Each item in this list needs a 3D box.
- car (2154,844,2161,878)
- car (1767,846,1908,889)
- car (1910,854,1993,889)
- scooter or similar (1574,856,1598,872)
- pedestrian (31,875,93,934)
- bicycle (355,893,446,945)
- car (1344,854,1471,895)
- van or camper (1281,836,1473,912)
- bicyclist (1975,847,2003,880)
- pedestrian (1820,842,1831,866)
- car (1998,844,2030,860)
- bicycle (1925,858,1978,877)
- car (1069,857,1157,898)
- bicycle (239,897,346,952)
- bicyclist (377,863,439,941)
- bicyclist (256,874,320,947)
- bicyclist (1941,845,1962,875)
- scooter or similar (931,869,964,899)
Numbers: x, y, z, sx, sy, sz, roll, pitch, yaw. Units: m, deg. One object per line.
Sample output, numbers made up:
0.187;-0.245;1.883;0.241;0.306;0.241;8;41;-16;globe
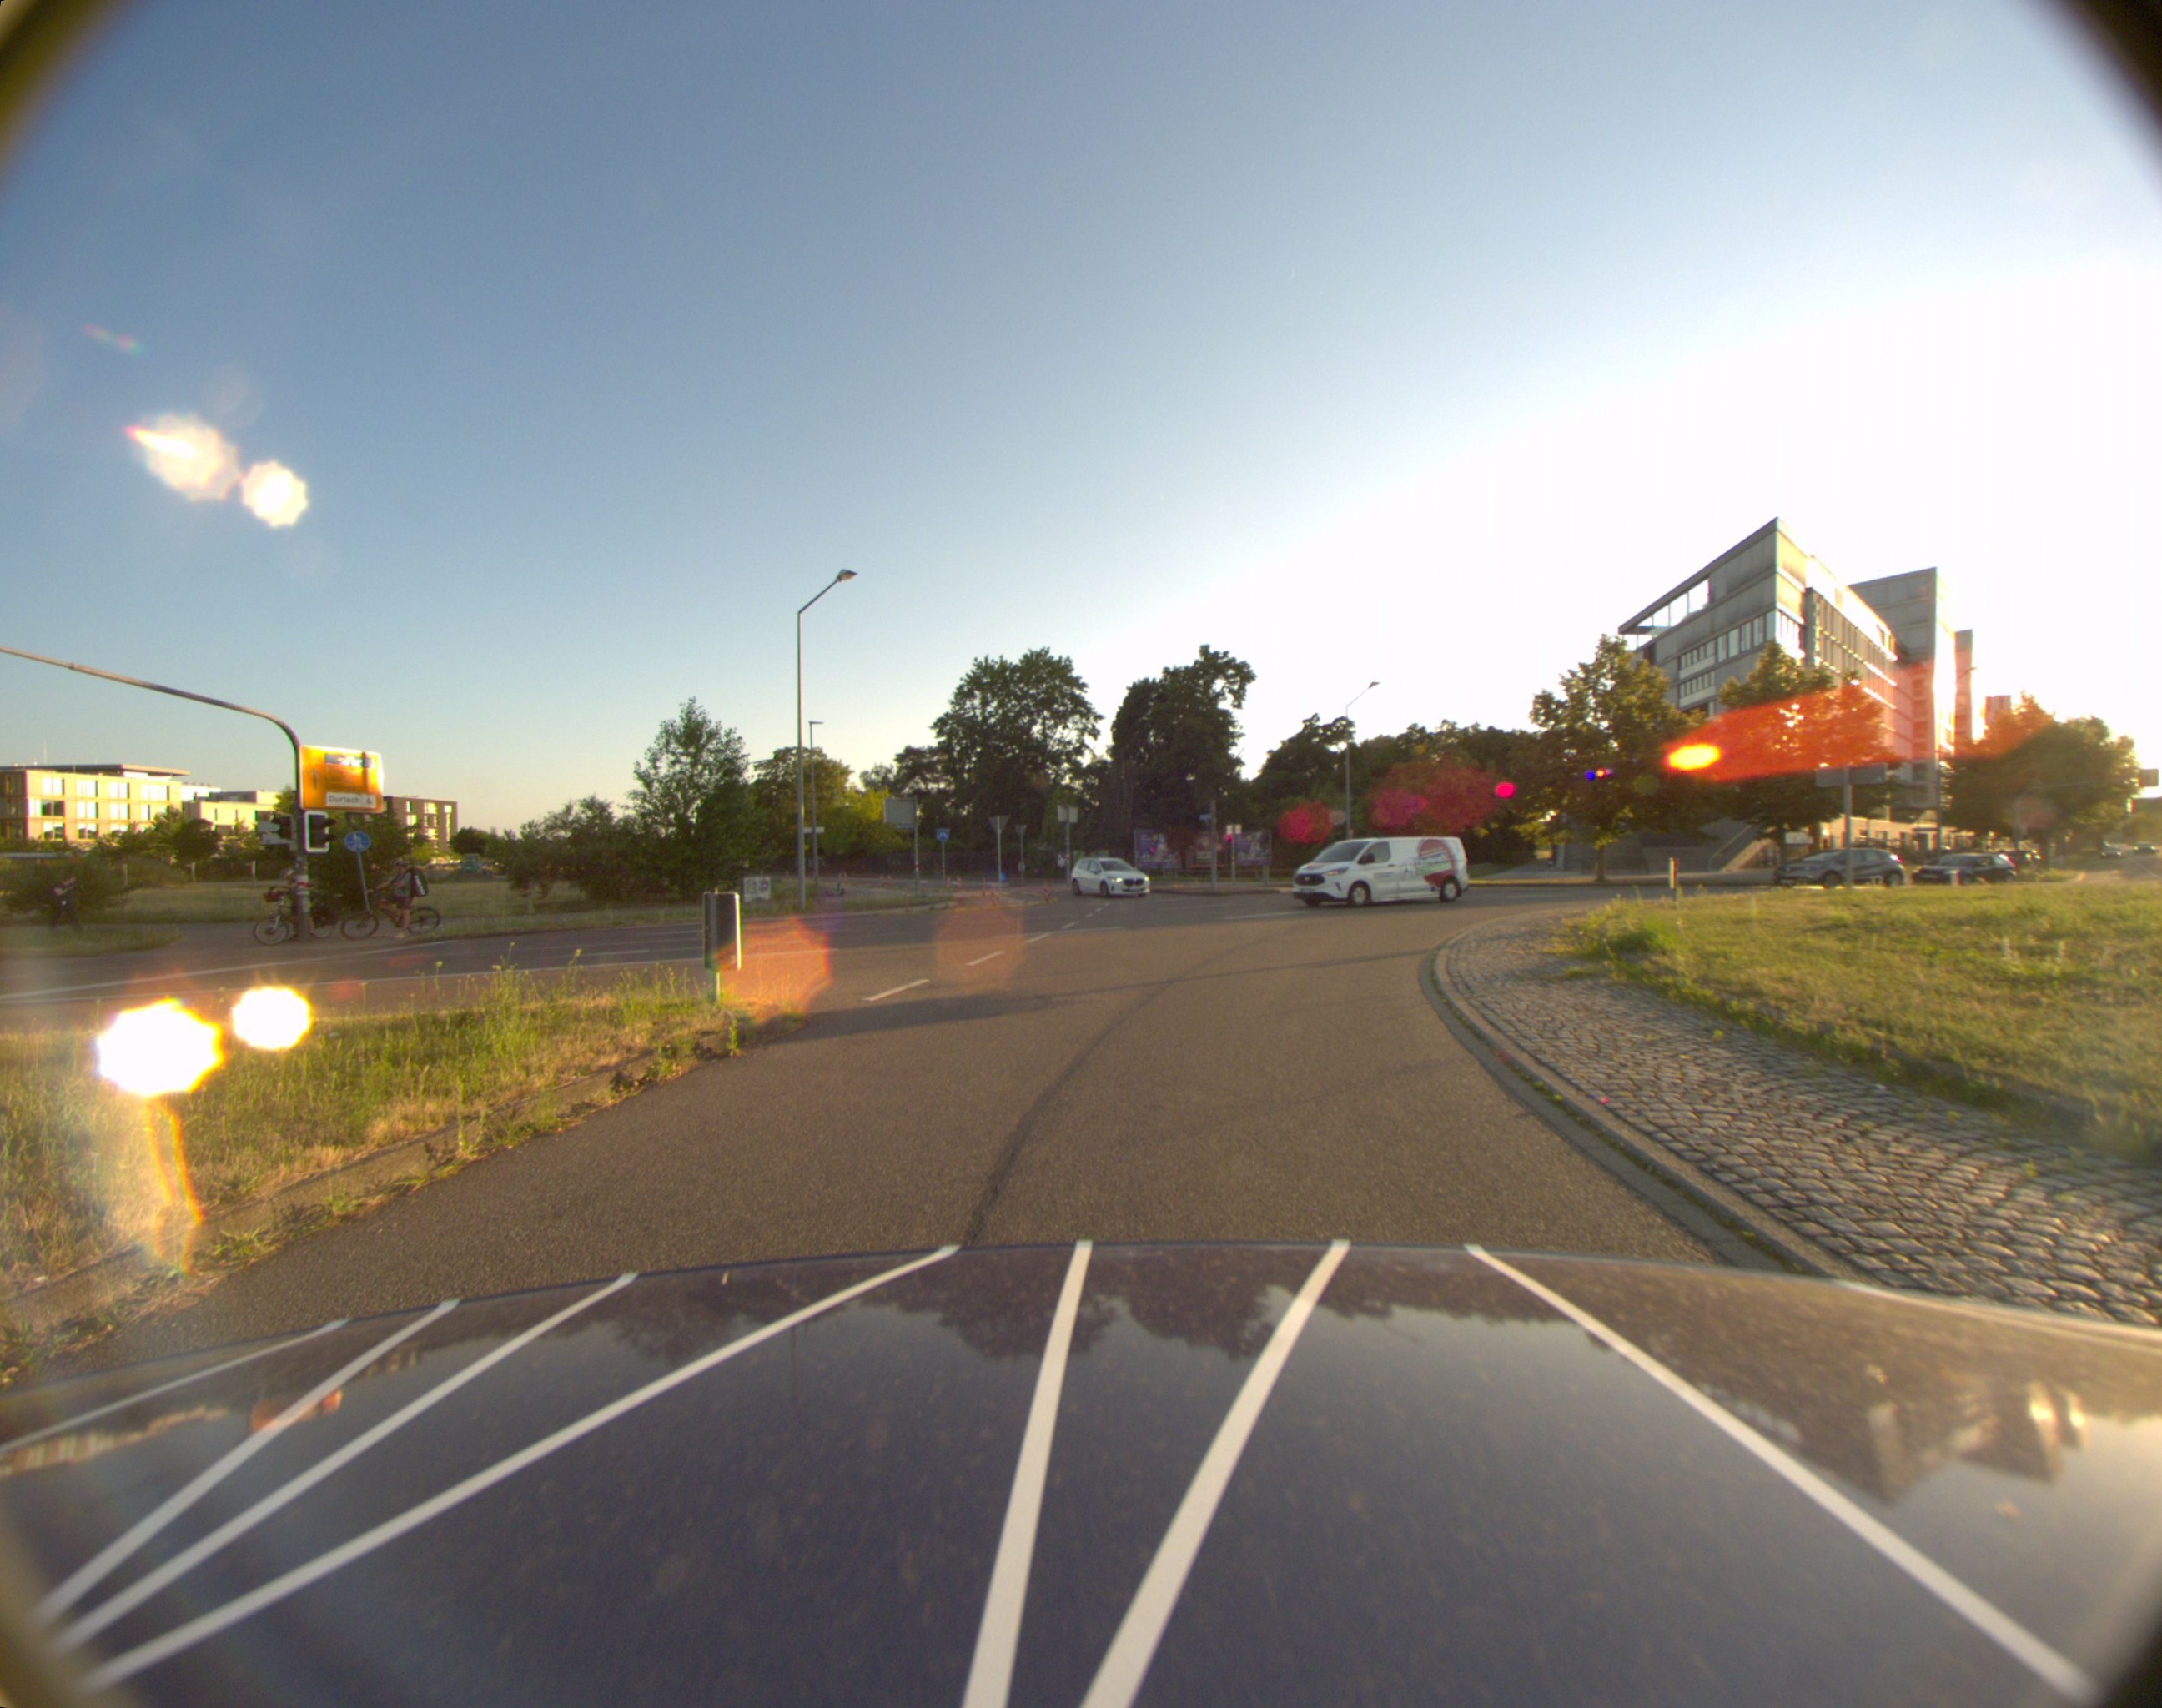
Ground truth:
54.838;0.320;37.679;4.007;1.612;1.773;-1;1;-33;car
29.238;0.492;29.429;3.999;1.527;1.744;-1;0;-6;car
39.223;0.735;34.227;4.006;1.431;1.741;-1;0;-30;car
38.989;0.763;58.668;0.367;1.213;1.573;-1;0;-27;scooter or similar
-28.008;1.374;20.897;0.567;1.541;0.797;-1;1;4;pedestrian
-17.118;1.607;19.182;0.456;1.079;1.928;-1;2;2;bicycle
12.537;0.749;29.175;4.564;1.422;1.742;-1;0;-22;car
8.582;0.515;21.991;5.335;1.946;1.996;-1;1;-24;van or camper
48.884;0.485;40.917;0.805;1.745;0.847;-1;0;-30;bicyclist
61.164;-0.016;62.406;0.528;2.002;0.537;-1;0;-37;pedestrian
89.551;-0.168;72.944;4.008;1.455;1.798;0;0;-37;car
47.235;0.715;41.245;1.858;1.016;0.308;-1;0;44;bicycle
1.232;0.905;31.011;1.893;1.549;4.087;-1;0;-25;car
-19.060;1.673;18.431;0.456;1.079;1.928;-1;3;2;bicycle
-17.015;1.192;19.228;0.641;1.887;0.910;-1;2;1;bicyclist
-19.162;1.354;18.374;0.641;1.693;0.770;-1;3;1;bicyclist
47.403;0.339;41.363;0.682;1.638;0.685;0;0;44;bicyclist
-5.538;1.240;31.629;0.441;1.156;1.386;0;0;39;scooter or similar
